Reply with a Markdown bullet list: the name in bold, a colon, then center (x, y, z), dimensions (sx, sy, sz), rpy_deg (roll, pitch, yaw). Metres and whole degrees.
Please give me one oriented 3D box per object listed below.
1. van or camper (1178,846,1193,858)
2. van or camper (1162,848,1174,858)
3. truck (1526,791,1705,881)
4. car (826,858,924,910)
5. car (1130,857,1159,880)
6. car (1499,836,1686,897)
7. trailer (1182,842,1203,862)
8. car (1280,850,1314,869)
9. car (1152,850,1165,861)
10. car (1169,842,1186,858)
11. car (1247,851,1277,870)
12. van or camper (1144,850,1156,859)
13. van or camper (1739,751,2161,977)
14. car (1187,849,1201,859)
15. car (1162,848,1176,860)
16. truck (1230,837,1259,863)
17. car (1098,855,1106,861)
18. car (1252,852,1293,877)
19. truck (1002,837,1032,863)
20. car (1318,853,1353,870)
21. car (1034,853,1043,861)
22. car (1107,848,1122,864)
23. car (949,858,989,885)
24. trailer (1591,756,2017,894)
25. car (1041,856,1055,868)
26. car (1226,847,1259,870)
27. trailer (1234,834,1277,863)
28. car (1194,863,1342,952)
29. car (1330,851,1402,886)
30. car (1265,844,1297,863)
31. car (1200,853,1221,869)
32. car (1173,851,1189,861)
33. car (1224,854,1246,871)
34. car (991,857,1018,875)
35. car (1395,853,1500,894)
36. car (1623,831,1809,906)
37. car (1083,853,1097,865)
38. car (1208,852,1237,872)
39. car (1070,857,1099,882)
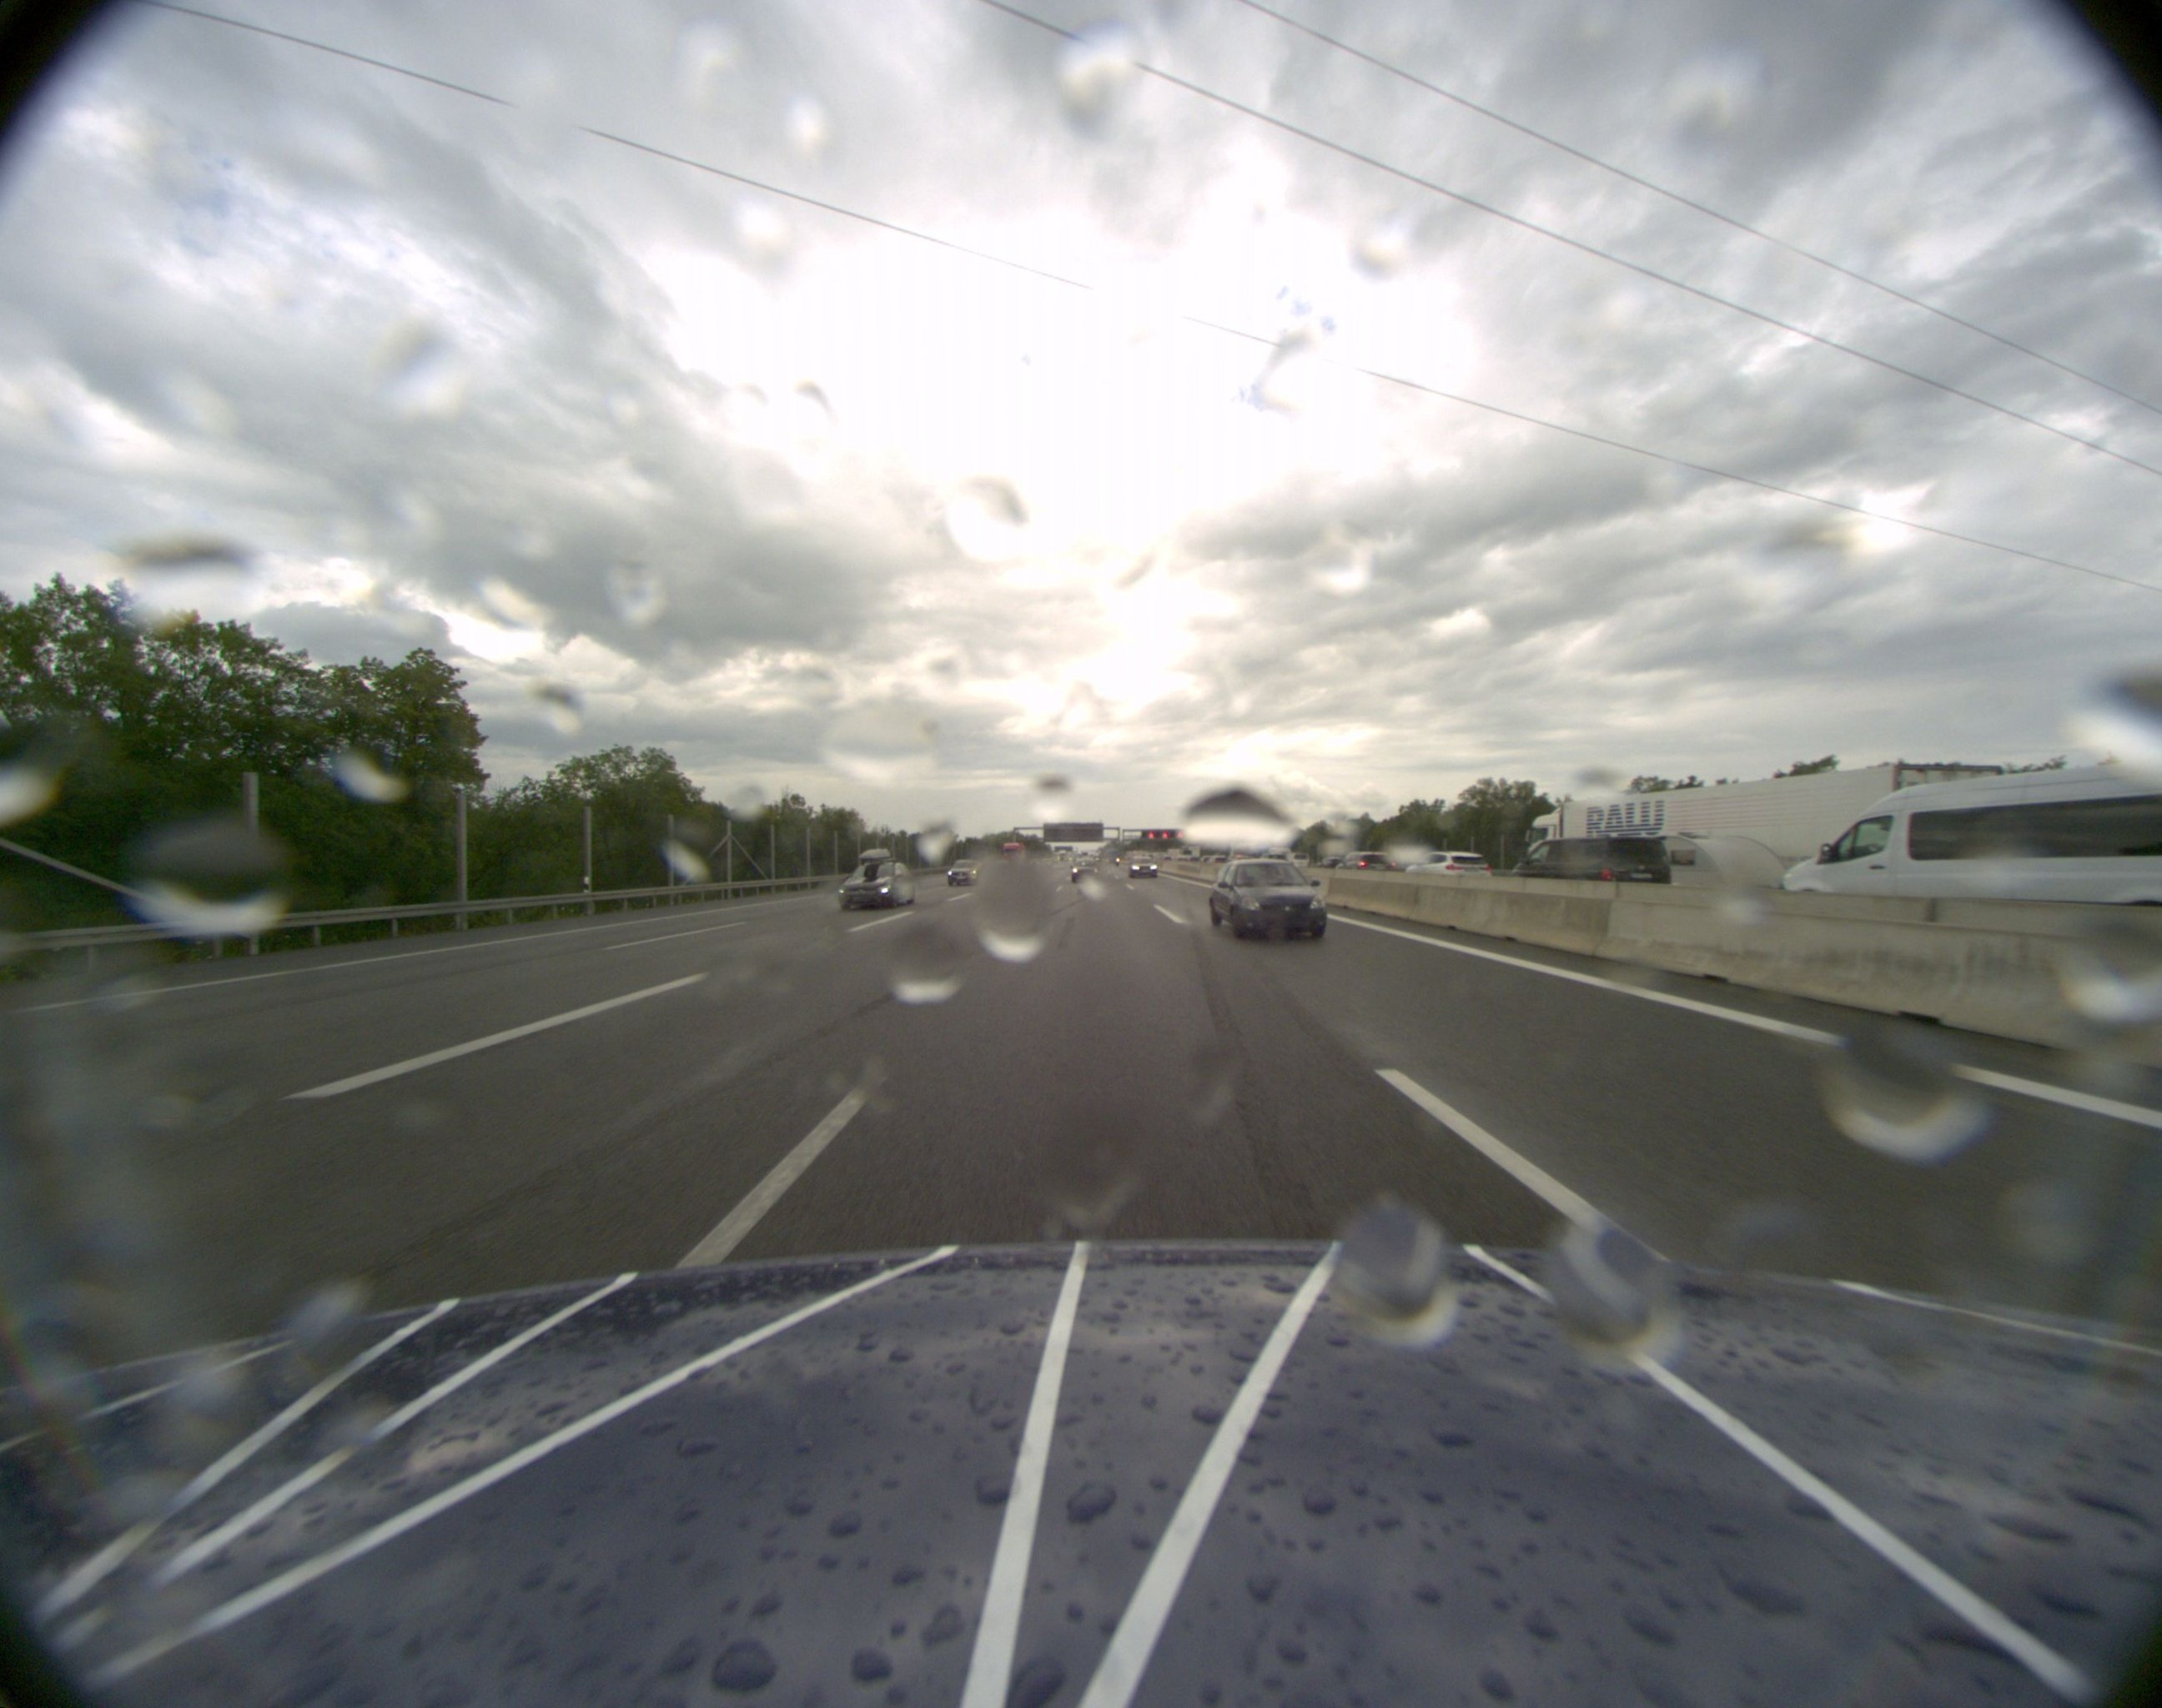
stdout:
- **van or camper**: center (19.900, -0.338, 144.492), dimensions (2.100, 2.173, 4.971), rpy_deg (-2, 0, 1)
- **van or camper**: center (24.891, -0.244, 218.091), dimensions (2.590, 2.830, 6.213), rpy_deg (-1, -1, -2)
- **truck**: center (22.519, -0.675, 32.540), dimensions (3.051, 3.386, 6.528), rpy_deg (-2, 0, 1)
- **car**: center (-7.091, 0.979, 26.761), dimensions (2.110, 1.596, 5.065), rpy_deg (-1, 0, -1)
- **car**: center (4.450, 1.009, 53.802), dimensions (1.751, 1.489, 4.015), rpy_deg (-1, 0, 1)
- **car**: center (14.295, 0.329, 21.701), dimensions (1.884, 1.468, 5.171), rpy_deg (-2, 0, 1)
- **trailer**: center (27.796, -0.379, 189.944), dimensions (3.155, 4.827, 13.294), rpy_deg (-2, 0, -1)
- **car**: center (22.903, 0.597, 80.883), dimensions (2.121, 1.925, 5.439), rpy_deg (-2, 0, 1)
- **car**: center (14.750, 0.320, 144.878), dimensions (2.100, 1.957, 5.631), rpy_deg (-2, 0, 1)
- **car**: center (20.595, -0.751, 162.523), dimensions (2.504, 3.280, 7.627), rpy_deg (-2, 0, 1)
- **car**: center (18.928, 0.676, 79.611), dimensions (2.121, 1.925, 4.426), rpy_deg (-2, 0, 1)
- **van or camper**: center (15.089, 0.068, 166.713), dimensions (1.998, 2.002, 6.346), rpy_deg (-2, 0, 1)
- **van or camper**: center (14.015, 0.092, 11.191), dimensions (2.184, 2.689, 7.520), rpy_deg (-2, 0, 1)
- **car**: center (19.558, 0.067, 131.763), dimensions (1.868, 1.651, 4.426), rpy_deg (-2, 0, 1)
- **car**: center (15.340, -0.019, 132.206), dimensions (1.868, 1.957, 4.806), rpy_deg (-2, 0, 1)
- **truck**: center (23.591, -0.551, 109.787), dimensions (2.735, 3.493, 6.800), rpy_deg (-2, 0, 1)
- **car**: center (5.910, 1.160, 215.609), dimensions (1.998, 1.790, 4.899), rpy_deg (-2, 0, 1)
- **car**: center (14.347, 0.748, 57.214), dimensions (1.874, 1.749, 4.706), rpy_deg (-2, 0, 1)
- **truck**: center (-10.448, -0.593, 125.294), dimensions (3.160, 3.979, 15.639), rpy_deg (-1, -1, 1)
- **car**: center (23.051, 0.701, 68.970), dimensions (1.872, 1.444, 4.000), rpy_deg (-2, 0, 1)
- **car**: center (-9.084, 0.647, 162.019), dimensions (1.820, 1.534, 4.357), rpy_deg (-1, 0, -3)
- **car**: center (5.184, 0.372, 117.306), dimensions (1.999, 2.354, 4.171), rpy_deg (-2, 0, -1)
- **car**: center (-6.946, 1.063, 47.520), dimensions (1.796, 1.553, 3.722), rpy_deg (-2, 0, 1)
- **trailer**: center (22.428, -0.709, 25.307), dimensions (3.032, 3.413, 11.777), rpy_deg (-2, 0, 1)
- **car**: center (-4.860, 1.162, 112.616), dimensions (1.962, 1.830, 4.000), rpy_deg (-1, 0, -1)
- **car**: center (14.666, 0.396, 69.036), dimensions (2.121, 1.925, 4.000), rpy_deg (-2, 0, 1)
- **trailer**: center (23.527, -0.648, 103.264), dimensions (2.717, 3.505, 13.611), rpy_deg (-2, 0, 1)
- **car**: center (3.528, 0.931, 15.332), dimensions (1.781, 1.399, 5.016), rpy_deg (-1, 0, 1)
- **car**: center (14.431, 0.721, 38.807), dimensions (1.899, 1.614, 4.845), rpy_deg (-2, 0, 1)
- **car**: center (23.645, -0.081, 90.138), dimensions (2.121, 2.137, 6.618), rpy_deg (-2, 0, 1)
- **car**: center (15.933, 0.843, 93.453), dimensions (1.898, 1.942, 4.213), rpy_deg (-2, 0, 1)
- **car**: center (15.270, 0.283, 116.512), dimensions (1.769, 1.475, 4.972), rpy_deg (-1, 0, 1)
- **car**: center (18.815, 1.009, 93.139), dimensions (1.898, 1.942, 4.000), rpy_deg (-2, 0, 1)
- **car**: center (-6.883, 1.064, 68.508), dimensions (1.898, 1.438, 4.245), rpy_deg (-2, 0, 0)
- **car**: center (14.703, 0.726, 30.845), dimensions (1.854, 1.468, 5.081), rpy_deg (-2, 0, 1)
- **car**: center (18.837, 0.403, 22.828), dimensions (2.213, 1.989, 4.000), rpy_deg (-2, 0, 1)
- **car**: center (1.340, 0.750, 112.966), dimensions (2.133, 1.830, 4.000), rpy_deg (-1, 0, 1)
- **car**: center (14.889, 0.837, 80.283), dimensions (2.121, 1.925, 5.215), rpy_deg (-2, 0, 1)
- **car**: center (0.272, 0.942, 47.799), dimensions (1.668, 1.431, 4.405), rpy_deg (-1, 0, 2)
